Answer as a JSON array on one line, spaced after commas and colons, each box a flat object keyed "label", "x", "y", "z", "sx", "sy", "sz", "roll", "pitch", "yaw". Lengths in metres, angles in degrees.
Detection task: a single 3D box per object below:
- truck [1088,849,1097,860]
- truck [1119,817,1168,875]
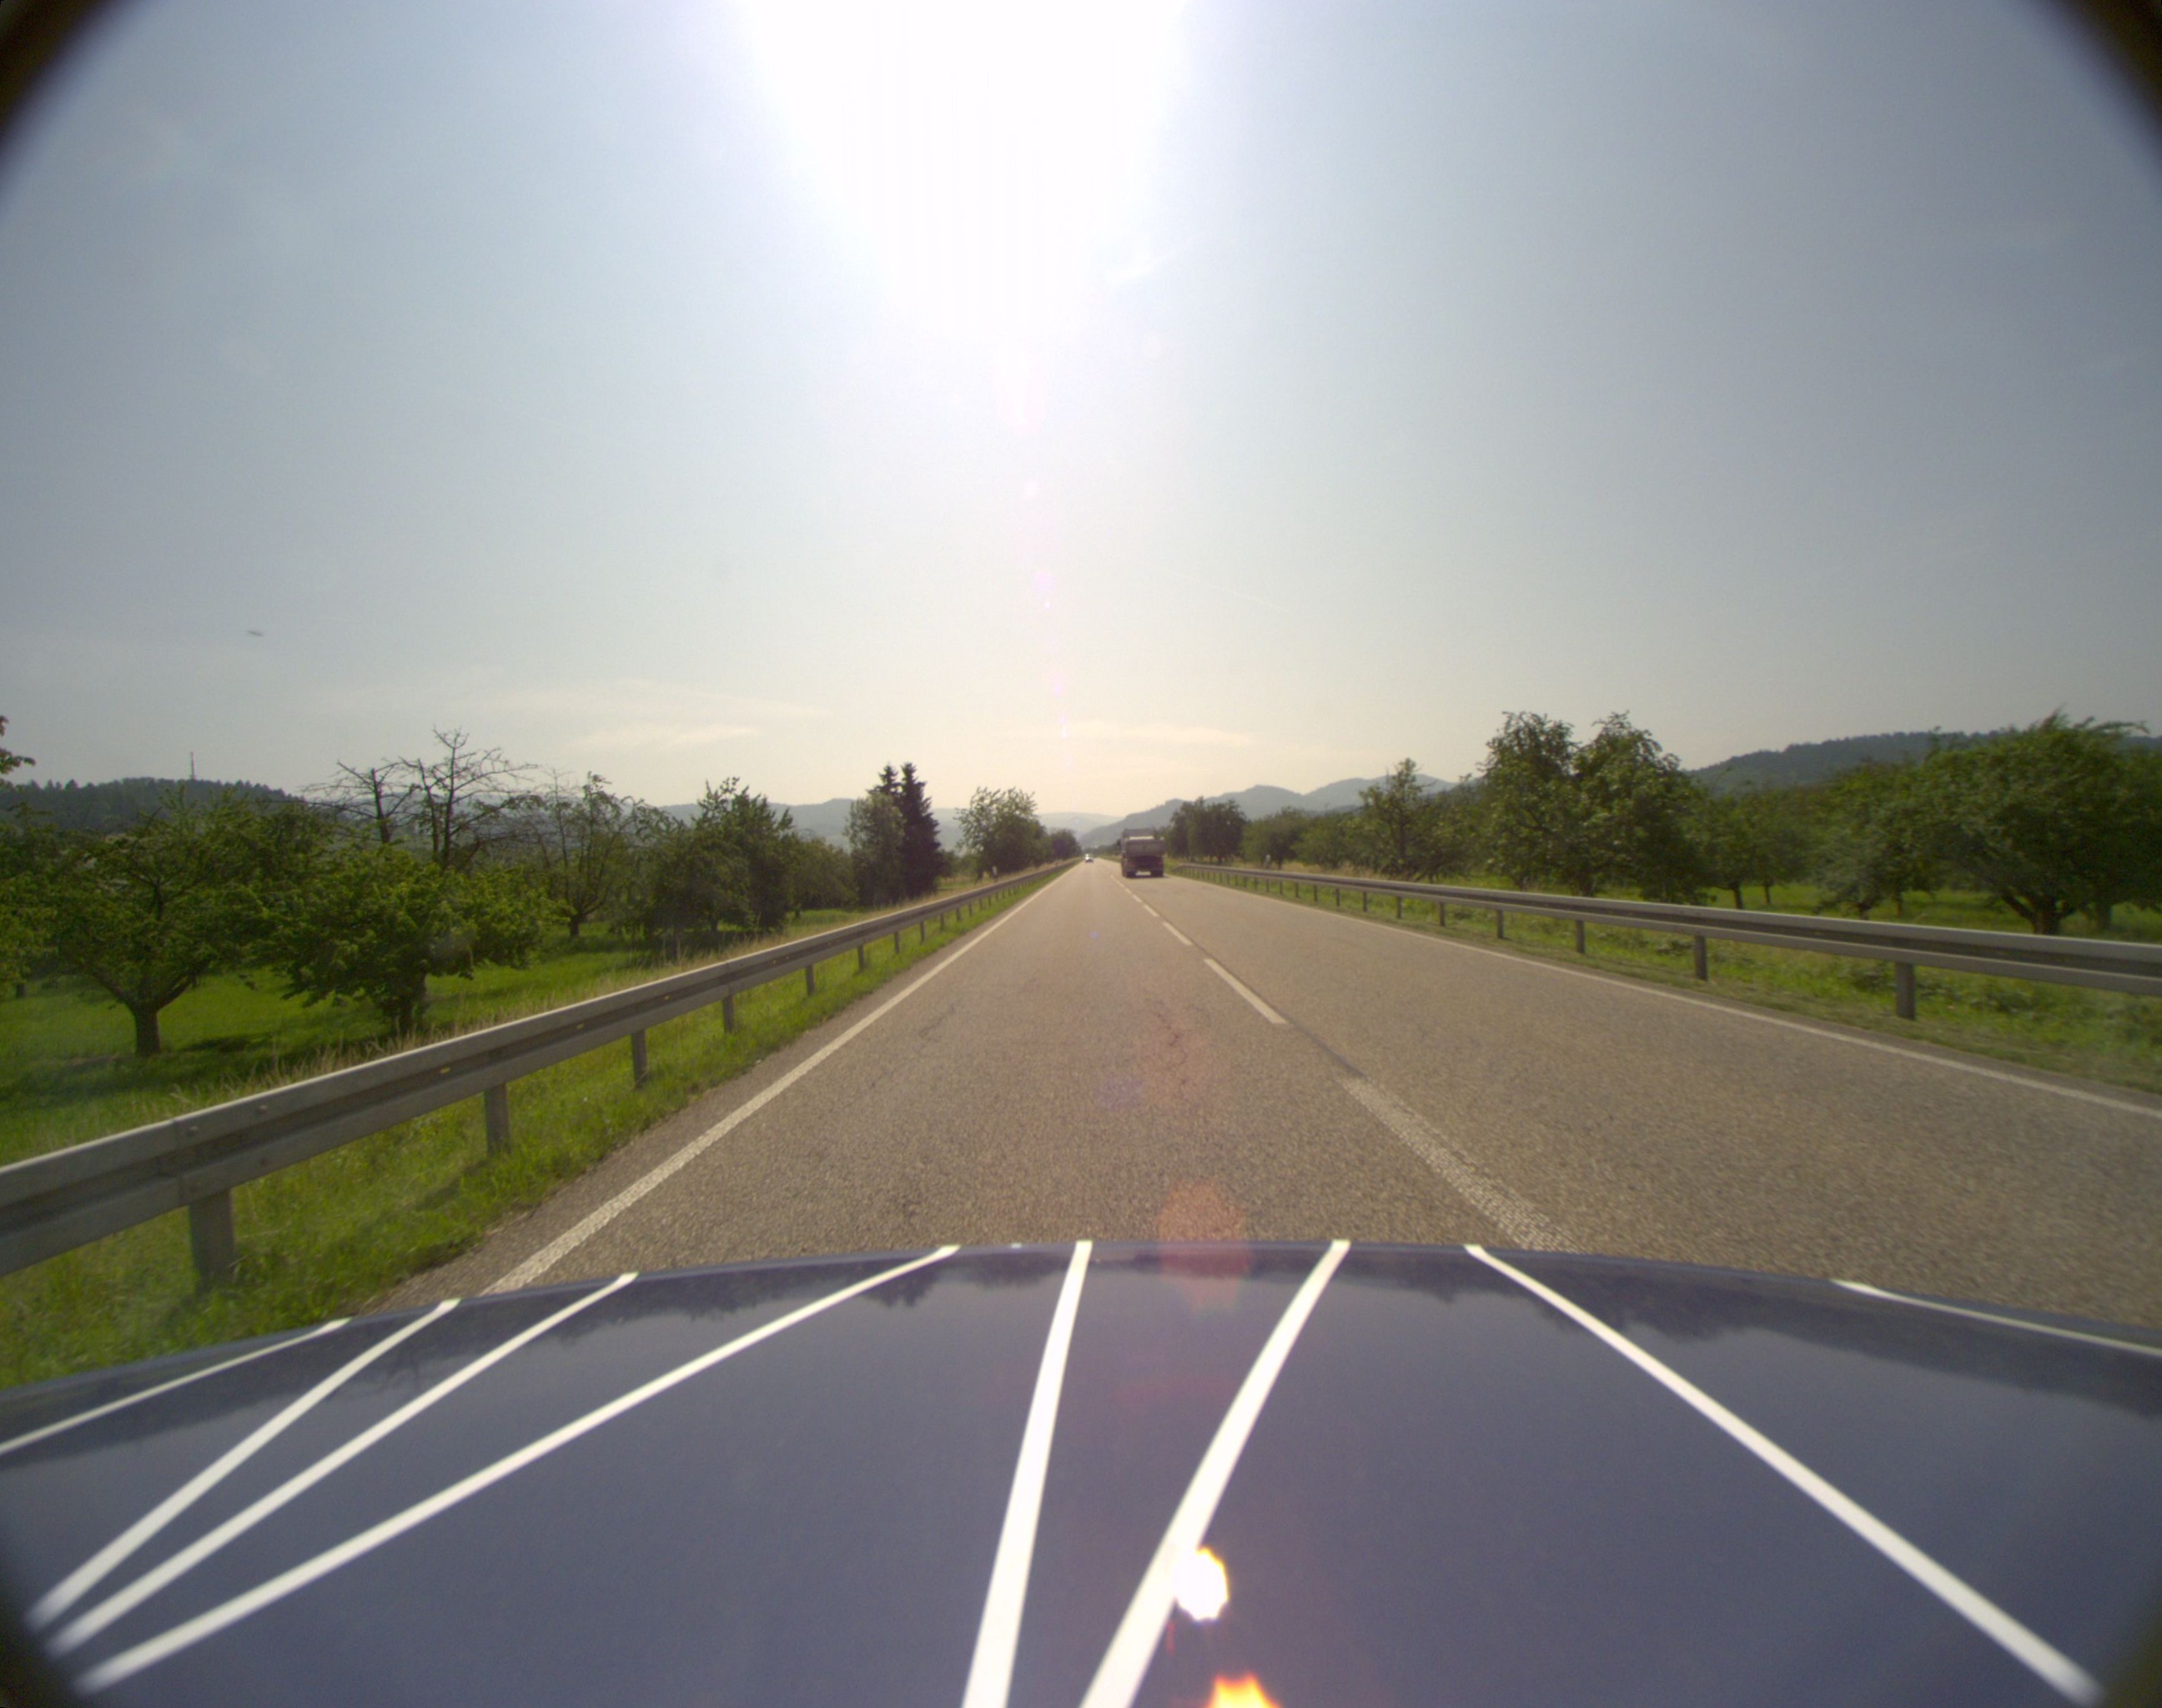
[{"label": "truck", "x": 2.582, "y": 0.076, "z": 173.734, "sx": 2.031, "sy": 2.233, "sz": 4.764, "roll": -2, "pitch": 1, "yaw": 1}, {"label": "truck", "x": 4.297, "y": -0.557, "z": 54.129, "sx": 2.735, "sy": 3.651, "sz": 9.382, "roll": -2, "pitch": 1, "yaw": 1}]
